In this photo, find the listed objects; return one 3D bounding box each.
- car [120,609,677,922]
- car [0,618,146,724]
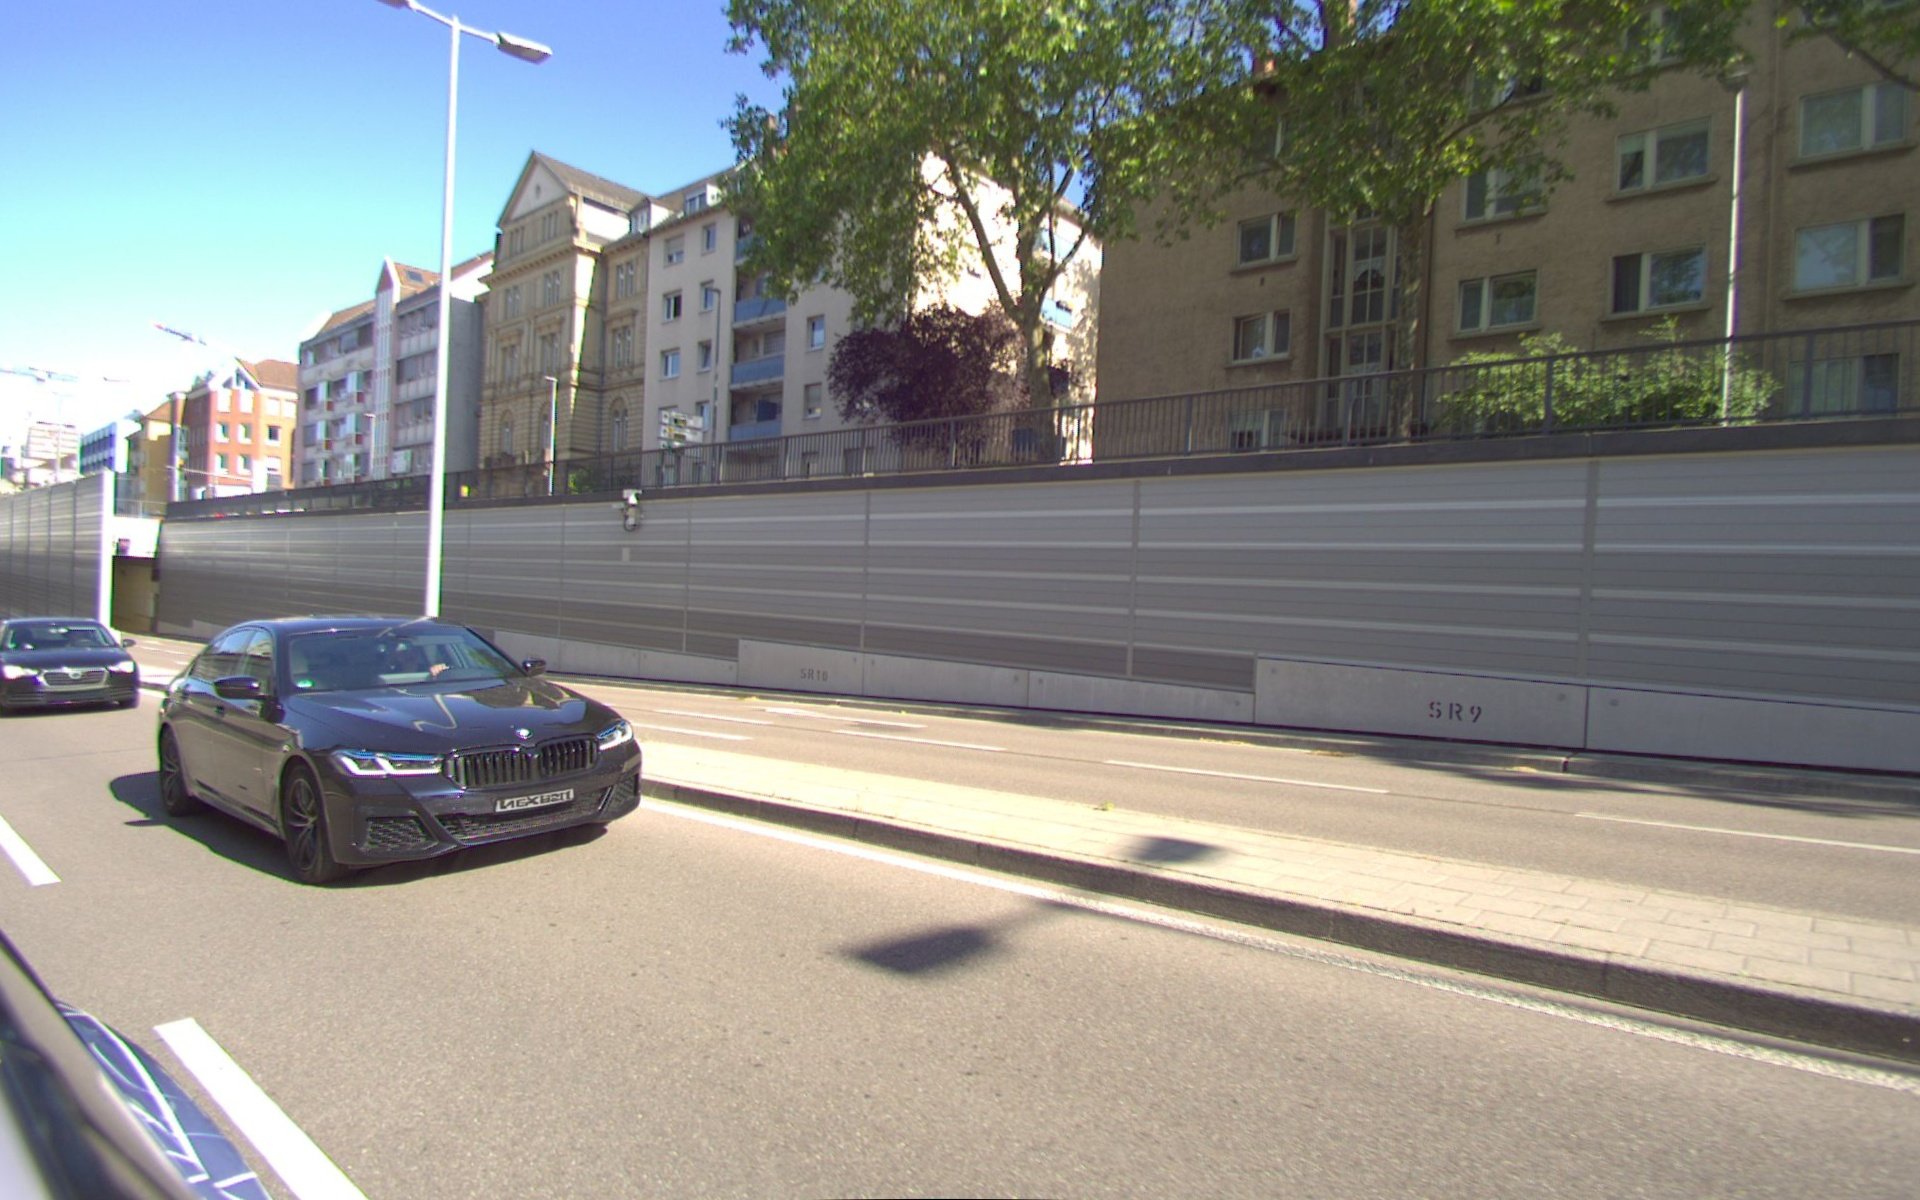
[{"bbox_3d":[-4.182,0.810,7.062,4.999,1.450,1.790,-1,0,41],"label":"car"},{"bbox_3d":[-14.180,1.009,15.746,3.886,1.429,1.678,-1,-1,41],"label":"car"}]
